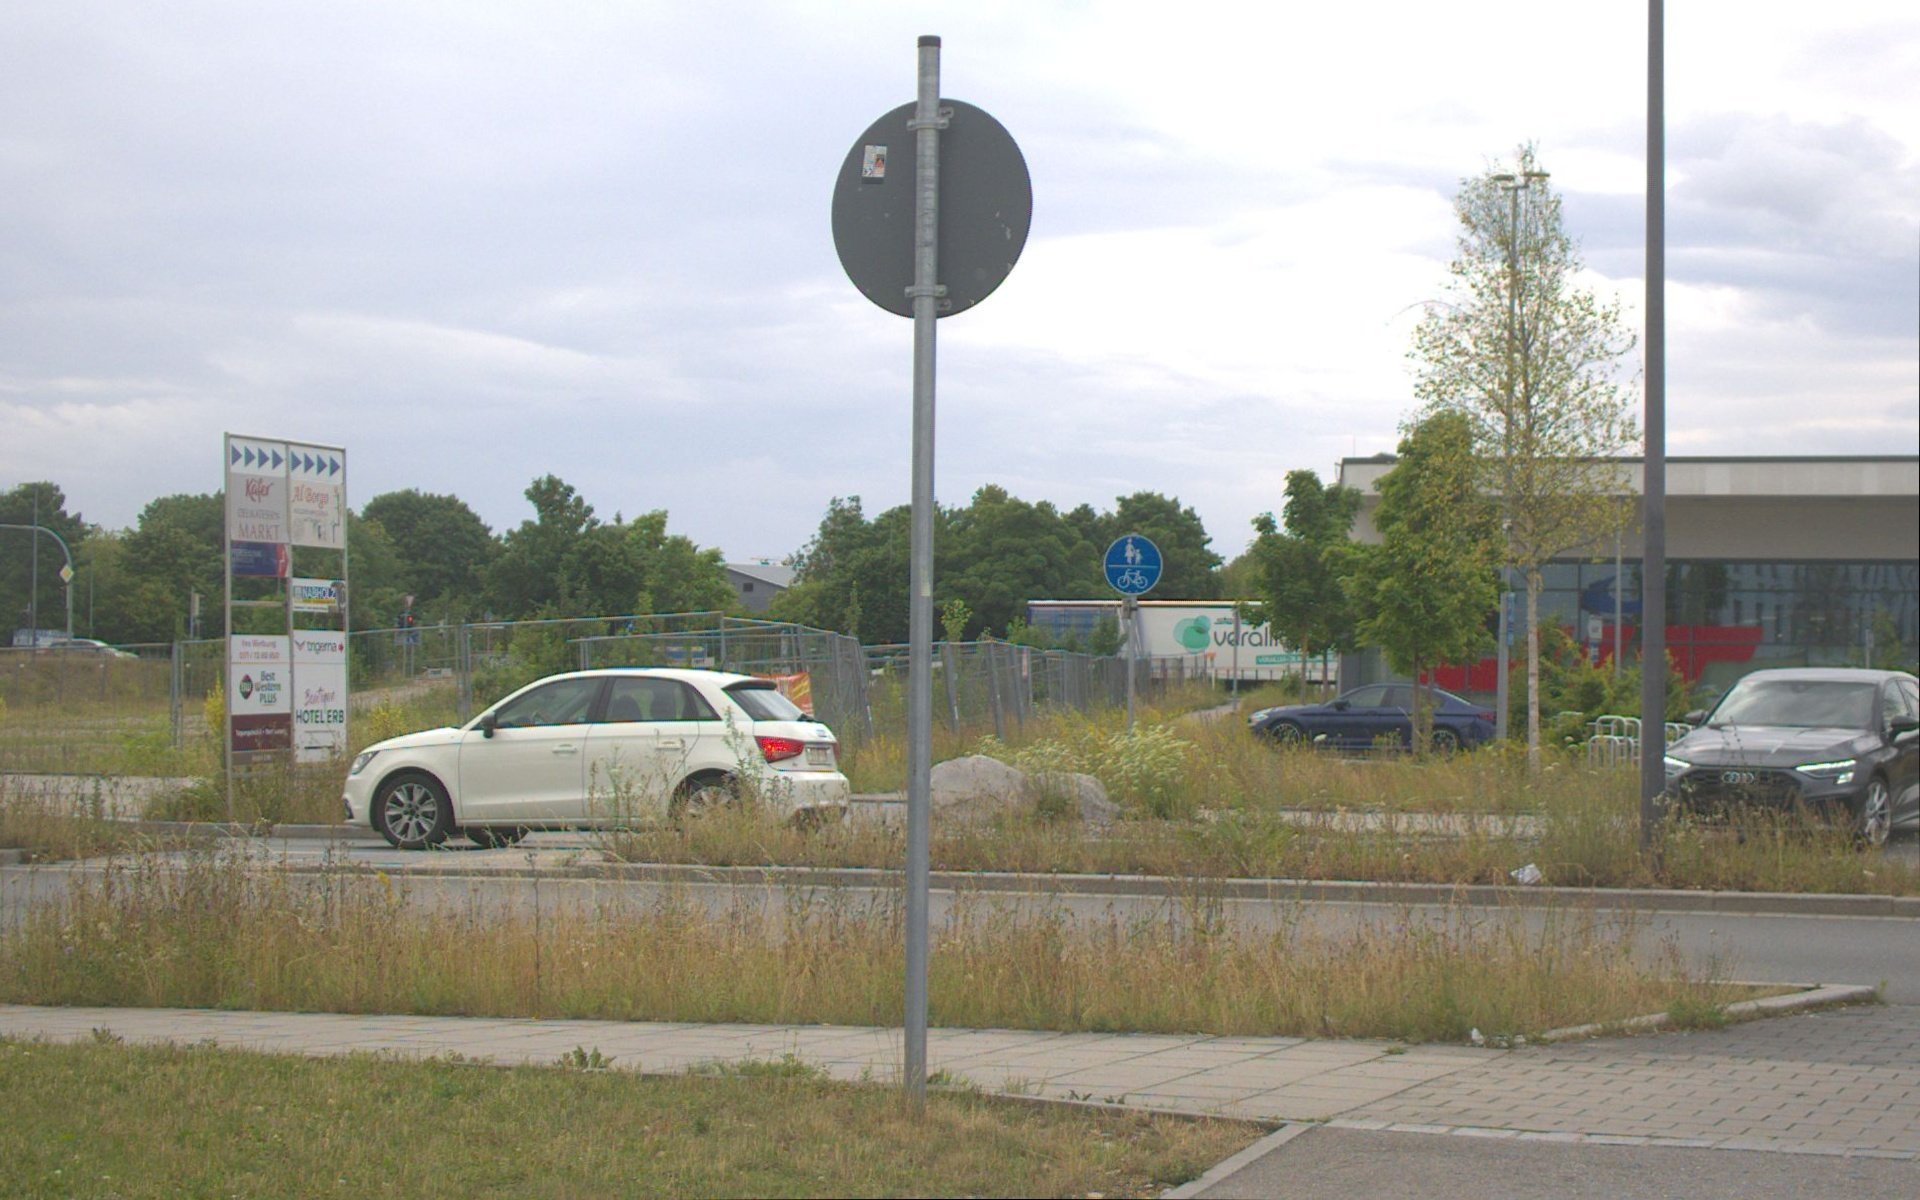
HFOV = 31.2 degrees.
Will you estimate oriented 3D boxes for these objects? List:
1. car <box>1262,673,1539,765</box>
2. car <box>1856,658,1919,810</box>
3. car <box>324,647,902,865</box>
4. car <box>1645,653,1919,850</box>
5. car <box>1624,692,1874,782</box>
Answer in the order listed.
[{"bbox_3d":[8.412,2.257,65.511,5.011,1.552,1.998,2,-2,14],"label":"car"},{"bbox_3d":[10.306,1.372,34.912,1.782,1.441,4.604,1,-2,21],"label":"car"},{"bbox_3d":[-2.668,1.181,26.649,4.046,1.476,1.757,2,-2,17],"label":"car"},{"bbox_3d":[7.153,1.218,28.651,1.794,1.462,4.314,1,-1,26],"label":"car"},{"bbox_3d":[13.335,2.306,58.034,3.990,1.347,1.998,2,-2,16],"label":"car"}]
